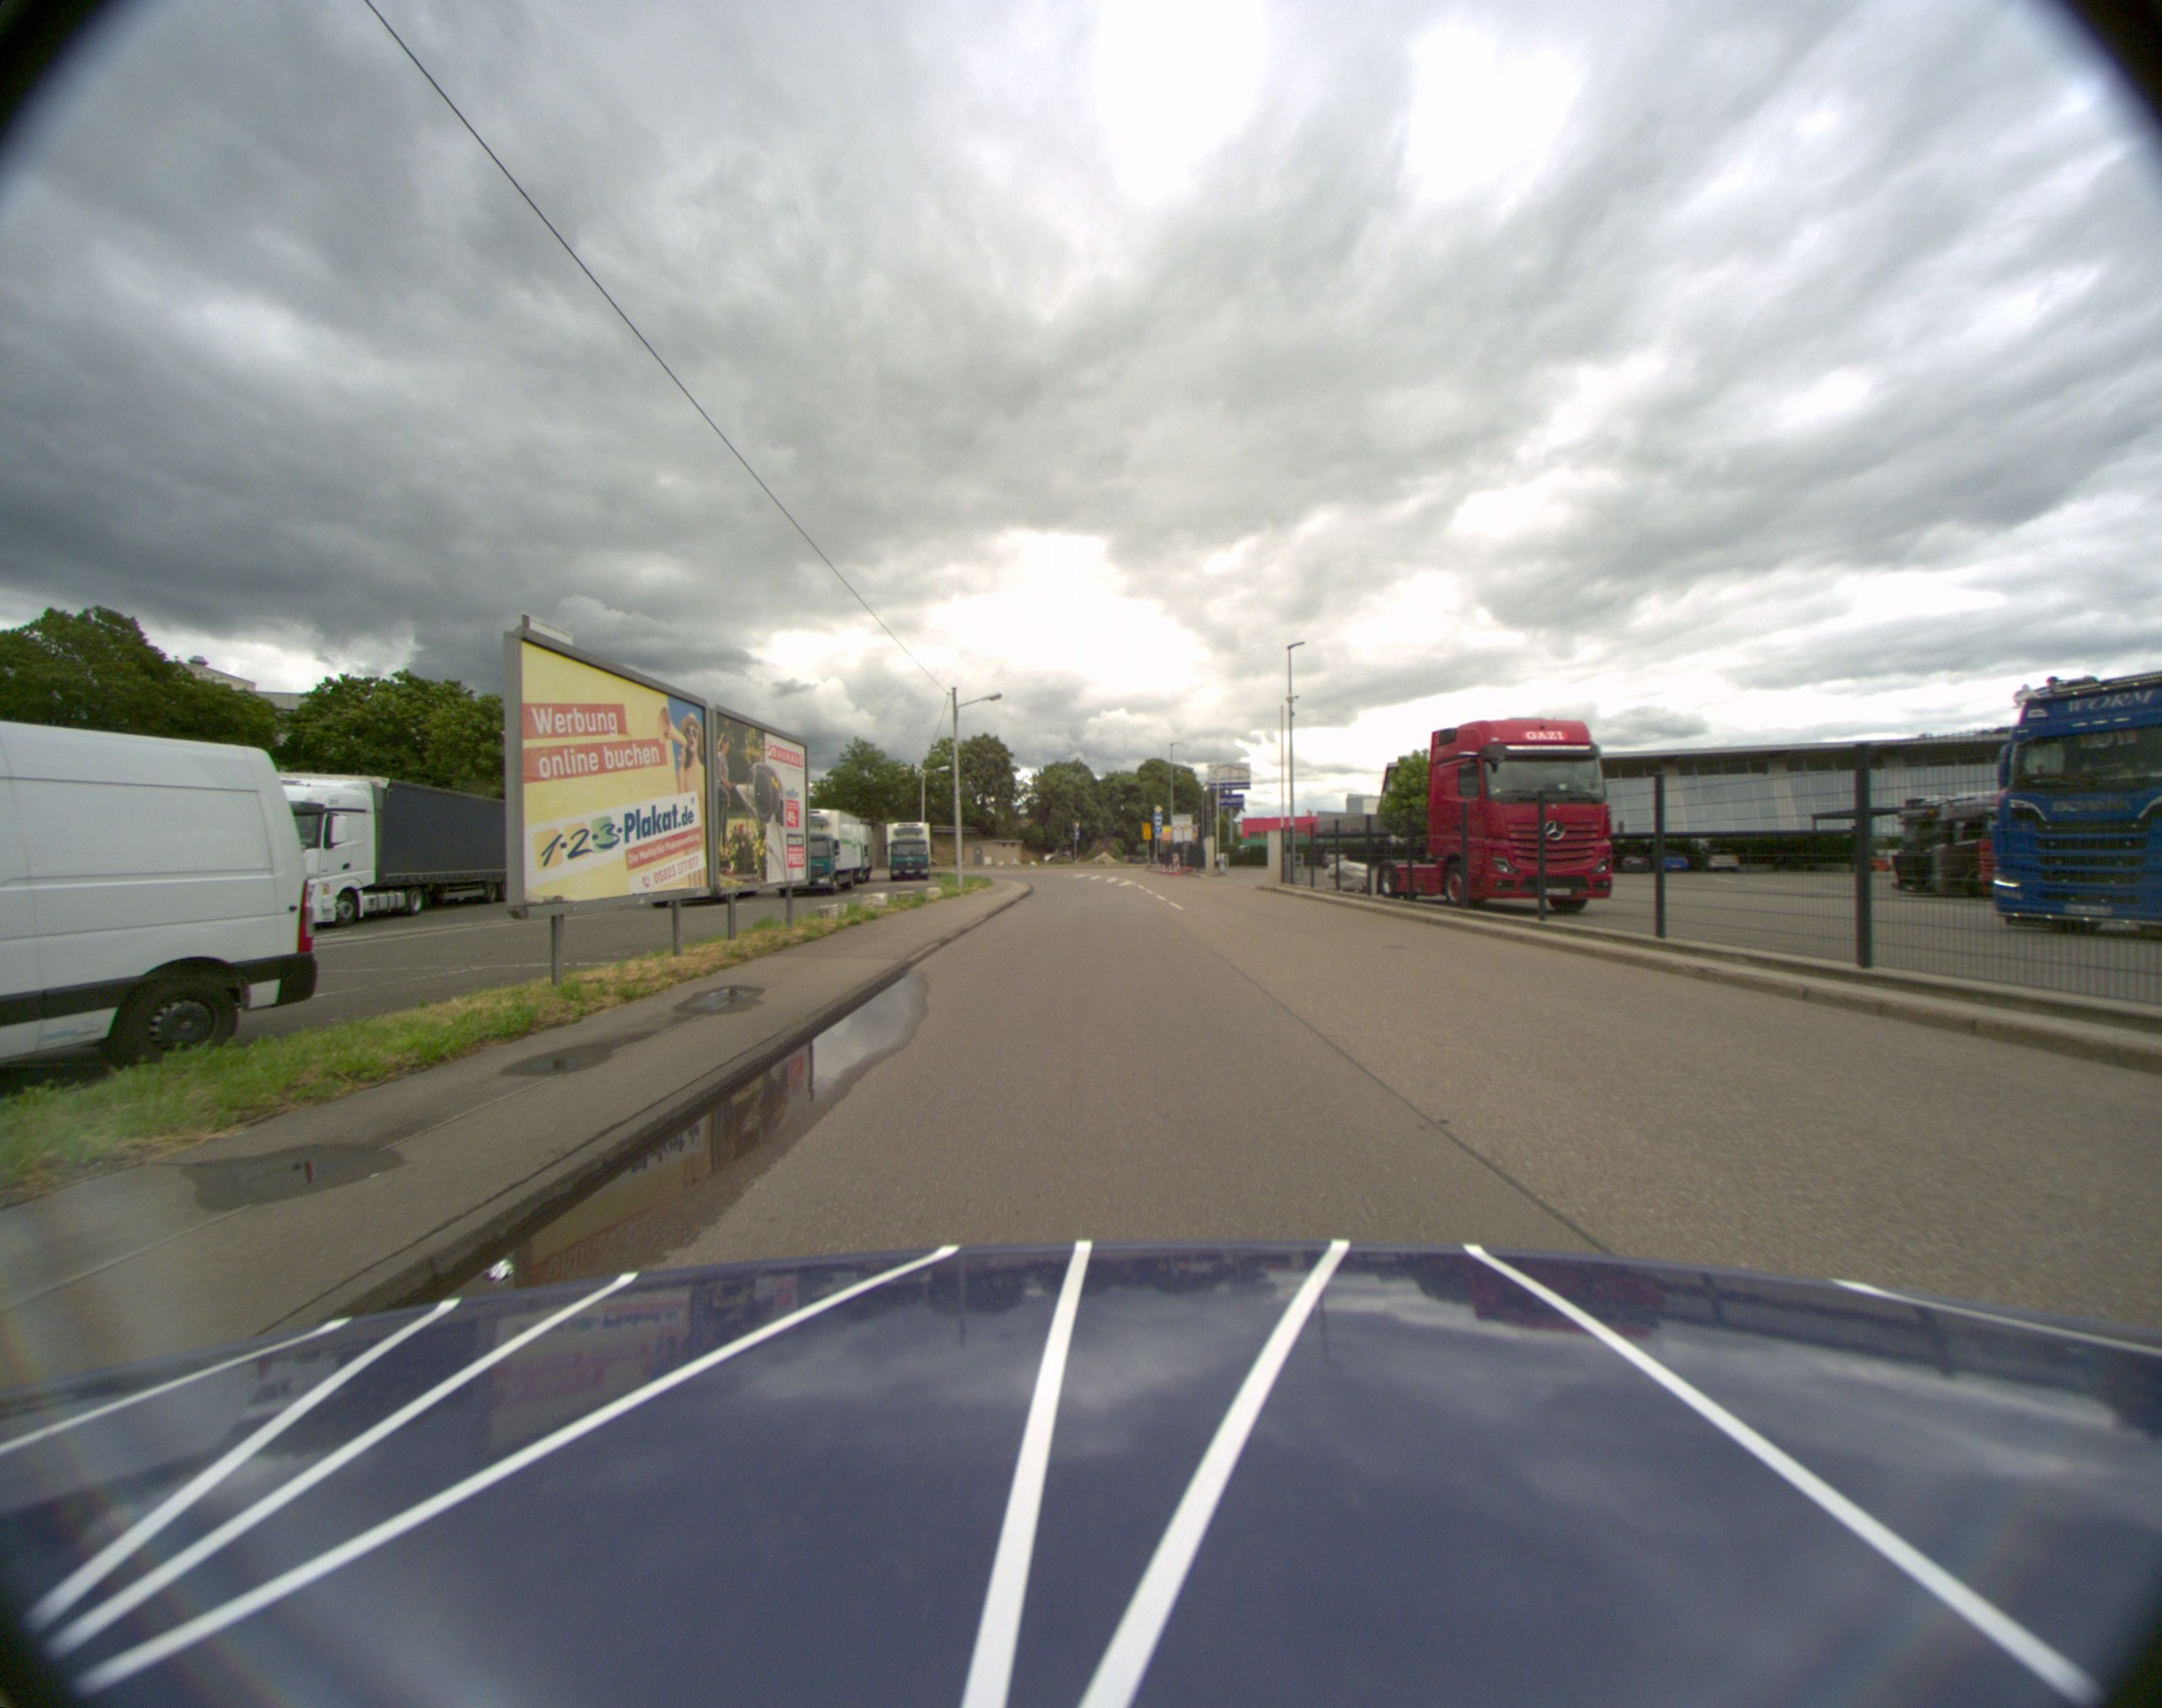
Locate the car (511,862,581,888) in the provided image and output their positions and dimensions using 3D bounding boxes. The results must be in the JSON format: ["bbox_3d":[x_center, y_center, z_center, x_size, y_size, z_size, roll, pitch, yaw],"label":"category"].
[{"bbox_3d":[-33.039,1.278,46.918,3.989,1.499,1.872,0,1,27],"label":"car"}]

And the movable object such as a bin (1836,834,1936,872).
[{"bbox_3d":[49.311,-0.060,46.706,2.077,2.213,4.605,0,1,15],"label":"movable object such as a bin"}]

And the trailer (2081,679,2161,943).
[{"bbox_3d":[23.579,-0.735,9.545,13.988,4.159,3.040,-1,1,19],"label":"trailer"}]

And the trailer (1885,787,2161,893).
[{"bbox_3d":[41.213,-0.552,30.972,11.383,4.054,3.095,0,1,20],"label":"trailer"}]

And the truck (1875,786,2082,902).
[{"bbox_3d":[33.366,-0.359,28.489,4.155,4.017,2.806,0,1,21],"label":"truck"}]

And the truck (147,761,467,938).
[{"bbox_3d":[-20.920,-0.107,21.417,3.076,3.978,8.022,1,0,-20],"label":"truck"}]

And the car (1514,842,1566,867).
[{"bbox_3d":[31.837,0.035,52.814,1.964,1.638,4.252,0,1,15],"label":"car"}]

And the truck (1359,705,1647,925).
[{"bbox_3d":[9.017,-0.744,17.433,2.929,3.997,6.941,-1,1,2],"label":"truck"}]

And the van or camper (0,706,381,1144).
[{"bbox_3d":[-7.651,0.440,3.913,2.261,2.632,6.114,-1,1,2],"label":"van or camper"}]

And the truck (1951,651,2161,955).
[{"bbox_3d":[16.939,-0.715,11.039,5.614,3.997,2.929,-1,1,-6],"label":"truck"}]

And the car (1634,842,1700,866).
[{"bbox_3d":[38.591,-0.031,50.178,1.964,1.550,4.252,0,1,15],"label":"car"}]

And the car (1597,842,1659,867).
[{"bbox_3d":[35.930,0.023,50.040,1.964,1.550,4.252,0,1,15],"label":"car"}]

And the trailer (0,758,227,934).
[{"bbox_3d":[-26.751,-0.186,16.935,2.707,4.155,13.473,-1,0,-12],"label":"trailer"}]

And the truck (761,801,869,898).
[{"bbox_3d":[-12.153,-0.190,35.856,2.989,3.808,10.424,-2,0,-10],"label":"truck"}]

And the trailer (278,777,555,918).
[{"bbox_3d":[-23.226,-0.123,27.949,3.067,3.953,13.080,1,-1,-20],"label":"trailer"}]

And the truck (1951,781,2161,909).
[{"bbox_3d":[33.092,-0.298,24.537,5.911,3.906,2.806,0,1,21],"label":"truck"}]

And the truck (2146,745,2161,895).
[{"bbox_3d":[30.416,-0.874,17.694,5.911,3.906,2.806,0,1,21],"label":"truck"}]

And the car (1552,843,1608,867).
[{"bbox_3d":[33.978,0.064,51.875,1.964,1.550,4.252,0,1,15],"label":"car"}]

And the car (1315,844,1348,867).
[{"bbox_3d":[18.536,0.069,56.301,2.070,1.660,4.252,0,1,15],"label":"car"}]

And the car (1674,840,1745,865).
[{"bbox_3d":[40.878,-0.106,49.559,1.964,1.550,4.252,0,1,15],"label":"car"}]

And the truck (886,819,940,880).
[{"bbox_3d":[-11.042,-0.333,49.955,3.074,3.610,8.594,-2,1,-13],"label":"truck"}]

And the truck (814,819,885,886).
[{"bbox_3d":[-14.195,-0.173,47.362,3.073,3.611,8.595,-4,2,-11],"label":"truck"}]

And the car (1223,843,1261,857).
[{"bbox_3d":[18.115,-0.476,85.543,3.996,1.527,2.000,-1,1,4],"label":"car"}]
